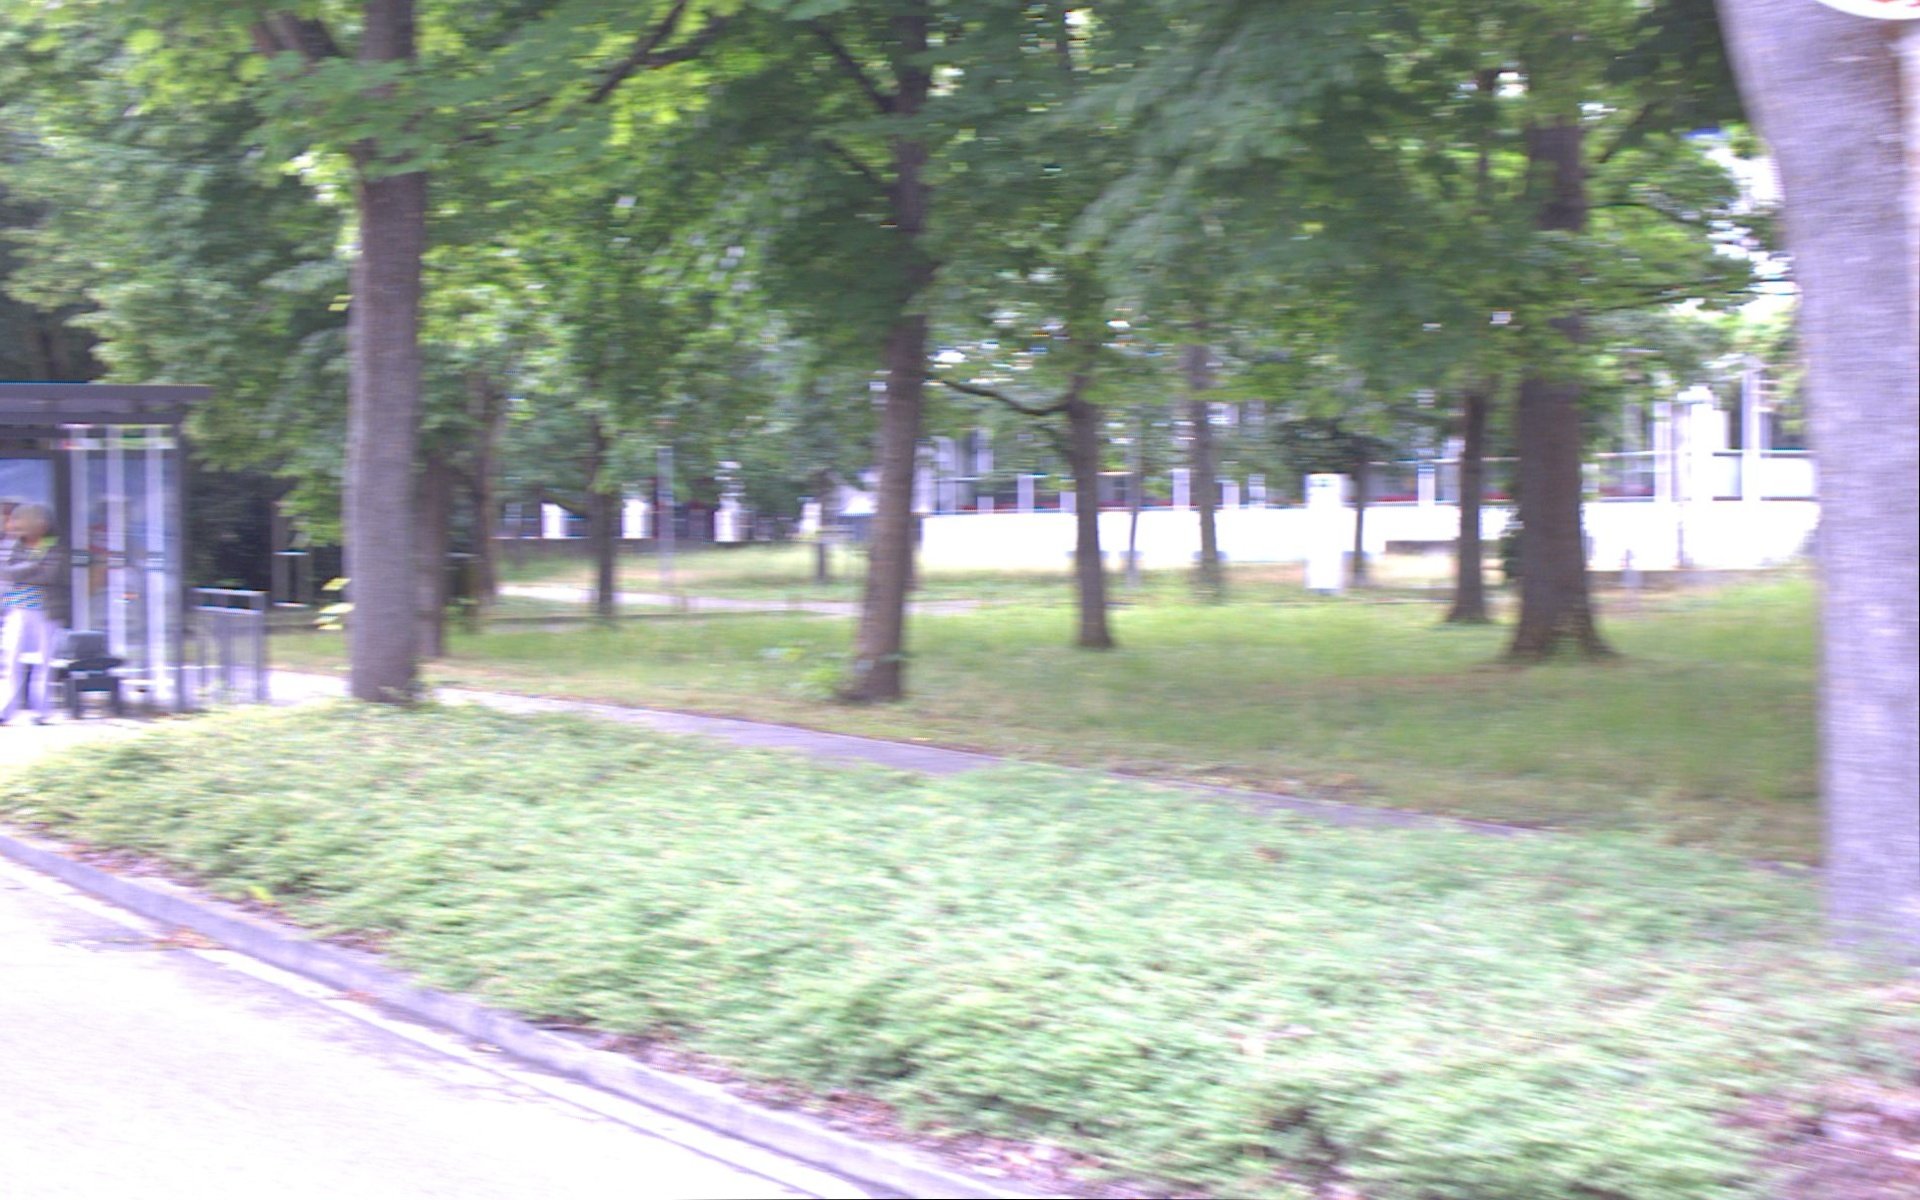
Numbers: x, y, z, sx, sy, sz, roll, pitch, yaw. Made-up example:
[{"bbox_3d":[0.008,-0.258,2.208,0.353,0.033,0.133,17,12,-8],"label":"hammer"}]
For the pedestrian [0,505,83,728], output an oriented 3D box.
[{"bbox_3d":[-6.792,0.108,24.957,0.653,1.578,0.698,-2,2,-26],"label":"pedestrian"}]
